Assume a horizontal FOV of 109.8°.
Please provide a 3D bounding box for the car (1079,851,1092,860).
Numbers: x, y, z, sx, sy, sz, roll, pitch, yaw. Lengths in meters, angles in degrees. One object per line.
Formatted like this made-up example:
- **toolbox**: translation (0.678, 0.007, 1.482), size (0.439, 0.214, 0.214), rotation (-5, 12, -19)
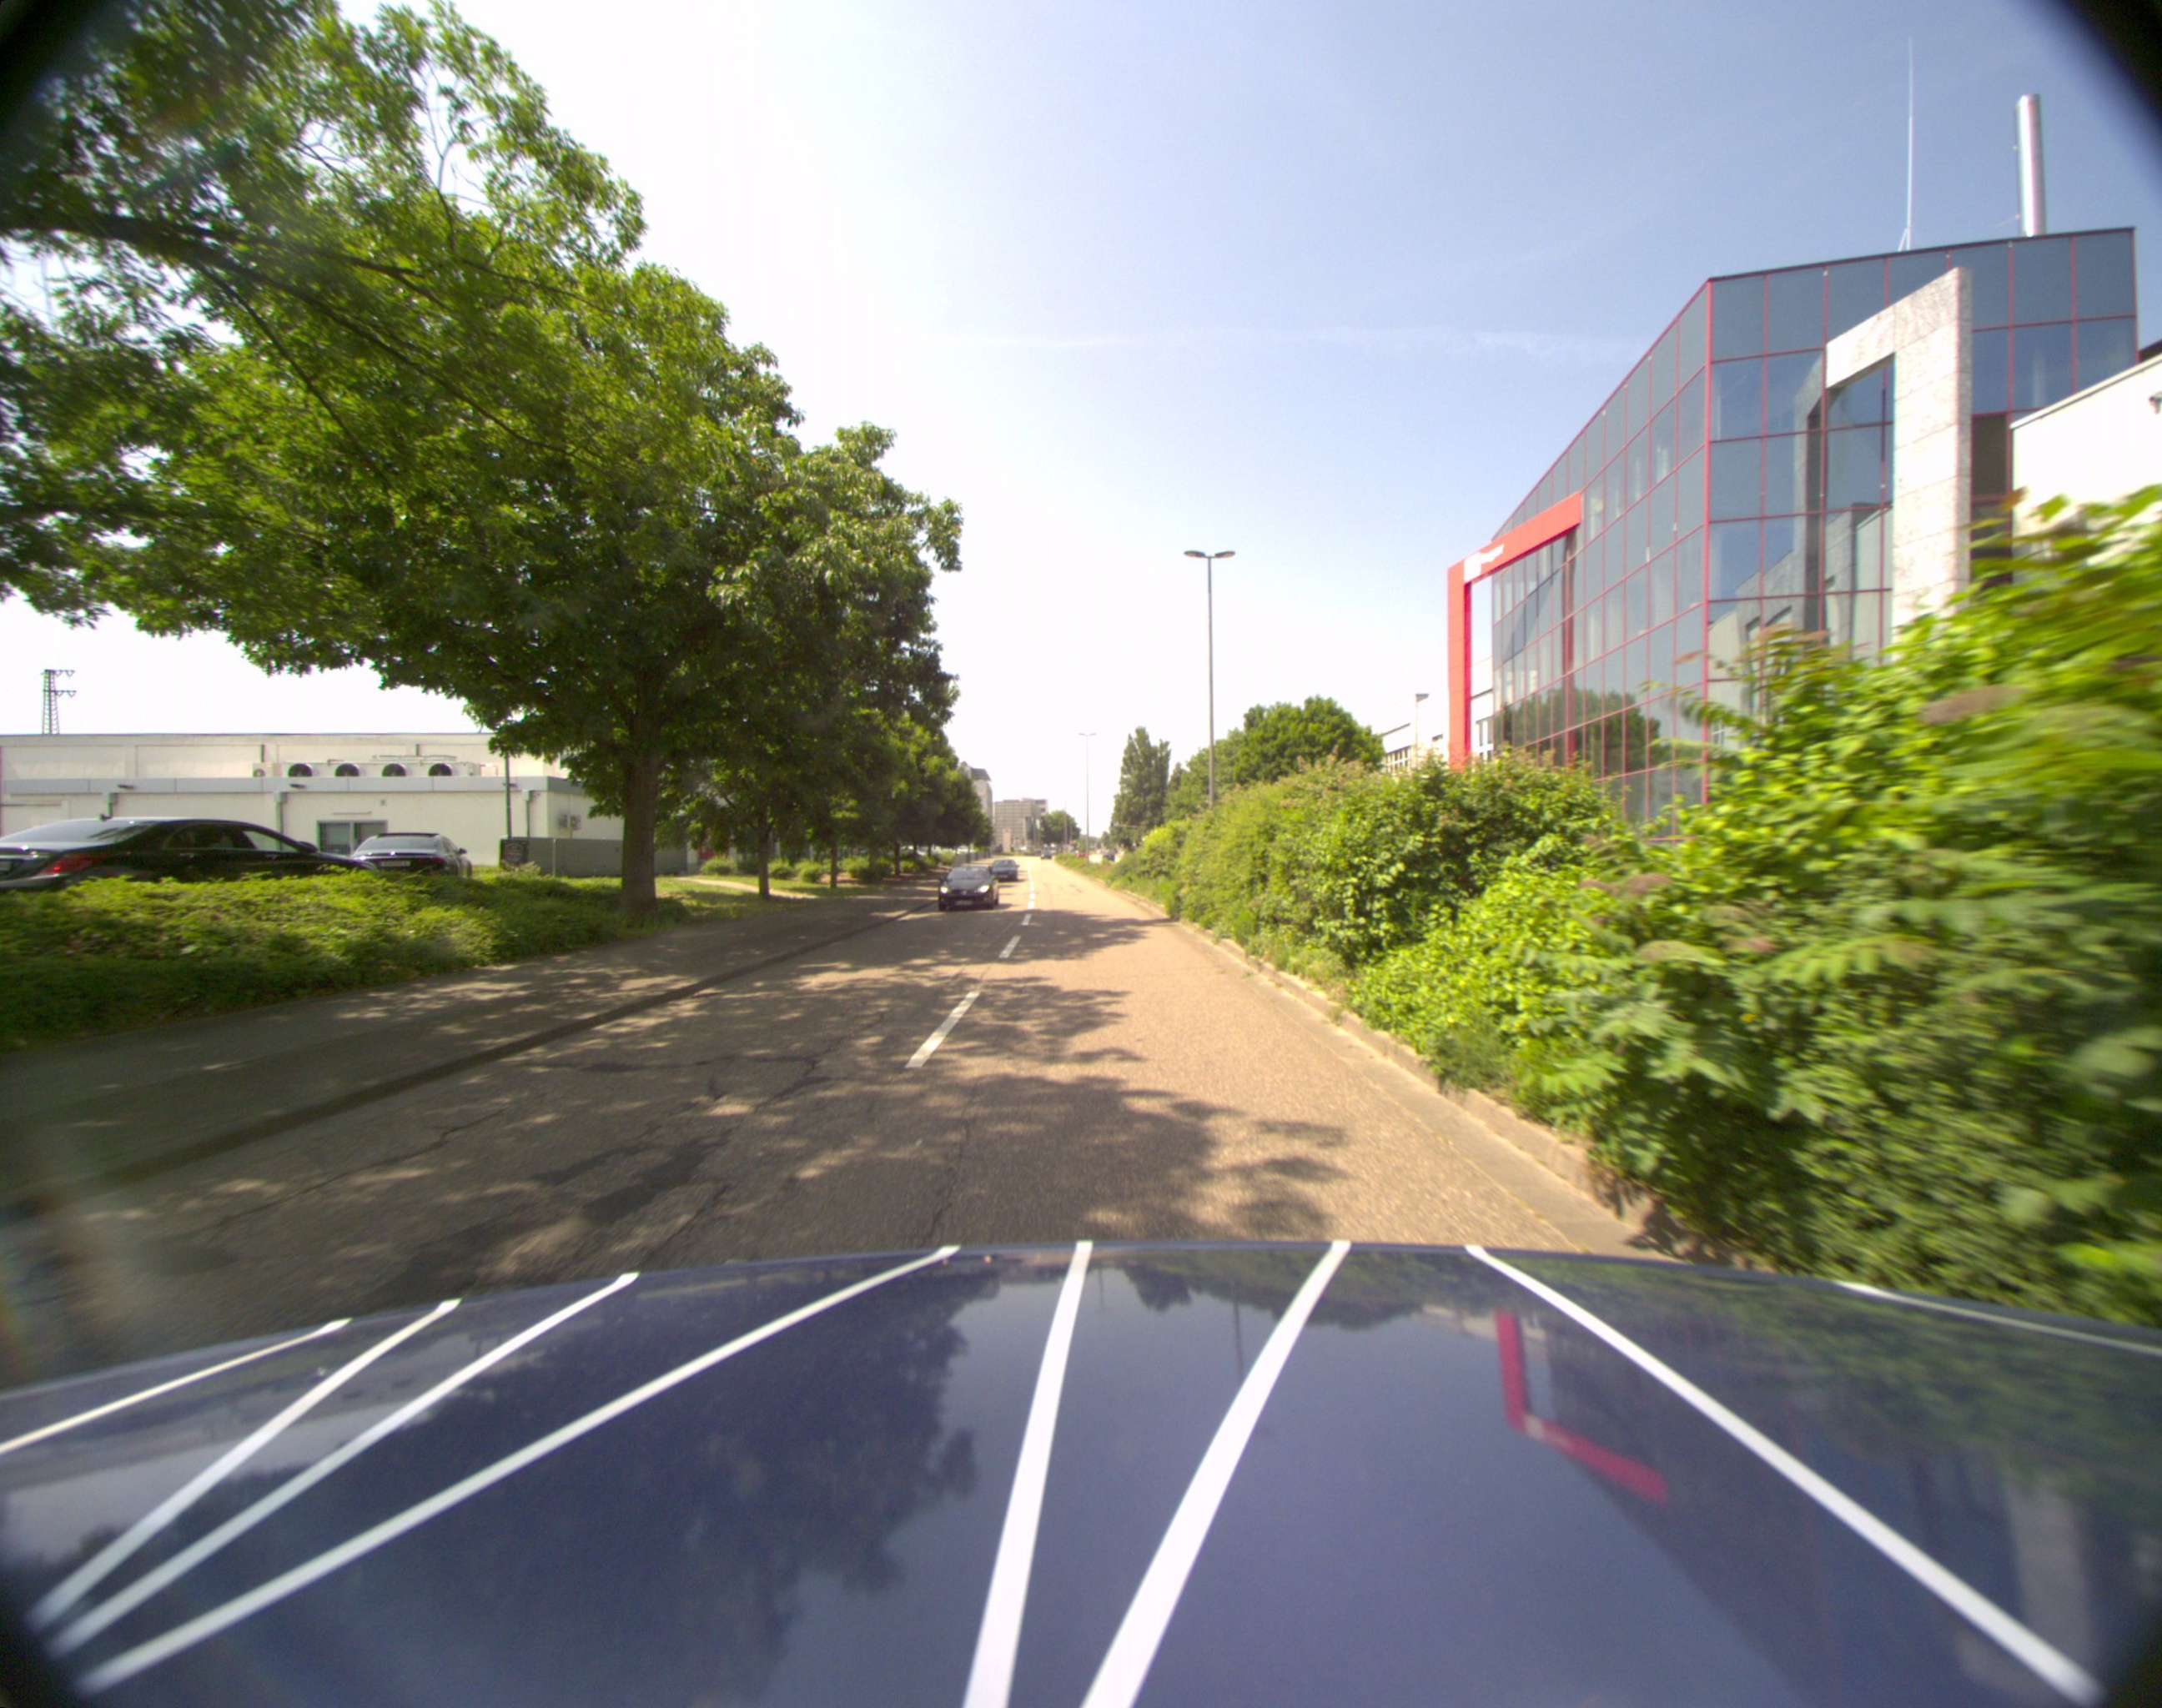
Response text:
- **car**: translation (0.716, 0.297, 118.656), size (1.734, 1.316, 4.147), rotation (1, 1, -3)

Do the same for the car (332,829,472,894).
- **car**: translation (-16.024, 0.139, 18.188), size (1.957, 1.344, 4.703), rotation (0, 0, -35)

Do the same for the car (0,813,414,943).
- **car**: translation (-12.918, 0.256, 11.208), size (1.912, 1.443, 5.596), rotation (-2, 1, -9)

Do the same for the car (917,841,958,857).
- **car**: translation (-17.192, -0.569, 91.022), size (4.629, 1.913, 1.826), rotation (0, 1, -2)

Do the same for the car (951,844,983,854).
- **car**: translation (-17.367, -0.788, 115.644), size (4.589, 1.496, 1.697), rotation (0, 1, -3)

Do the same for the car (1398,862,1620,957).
- **car**: translation (7.300, 0.864, 13.461), size (1.632, 1.368, 3.882), rotation (1, 0, -1)

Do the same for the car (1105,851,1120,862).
- **car**: translation (4.475, 0.321, 109.179), size (1.727, 1.408, 4.245), rotation (1, 0, -4)

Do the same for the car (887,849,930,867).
- **car**: translation (-17.585, 0.400, 77.573), size (3.999, 1.587, 1.825), rotation (-2, 1, -6)

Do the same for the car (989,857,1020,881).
- **car**: translation (-4.677, 0.896, 46.800), size (1.712, 1.316, 3.953), rotation (0, 1, -3)

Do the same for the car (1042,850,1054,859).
- **car**: translation (-5.195, 0.086, 120.132), size (1.868, 1.390, 3.999), rotation (0, 0, -1)

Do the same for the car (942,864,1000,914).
- **car**: translation (-3.458, 1.059, 24.410), size (1.642, 1.349, 3.497), rotation (-2, 1, -5)
